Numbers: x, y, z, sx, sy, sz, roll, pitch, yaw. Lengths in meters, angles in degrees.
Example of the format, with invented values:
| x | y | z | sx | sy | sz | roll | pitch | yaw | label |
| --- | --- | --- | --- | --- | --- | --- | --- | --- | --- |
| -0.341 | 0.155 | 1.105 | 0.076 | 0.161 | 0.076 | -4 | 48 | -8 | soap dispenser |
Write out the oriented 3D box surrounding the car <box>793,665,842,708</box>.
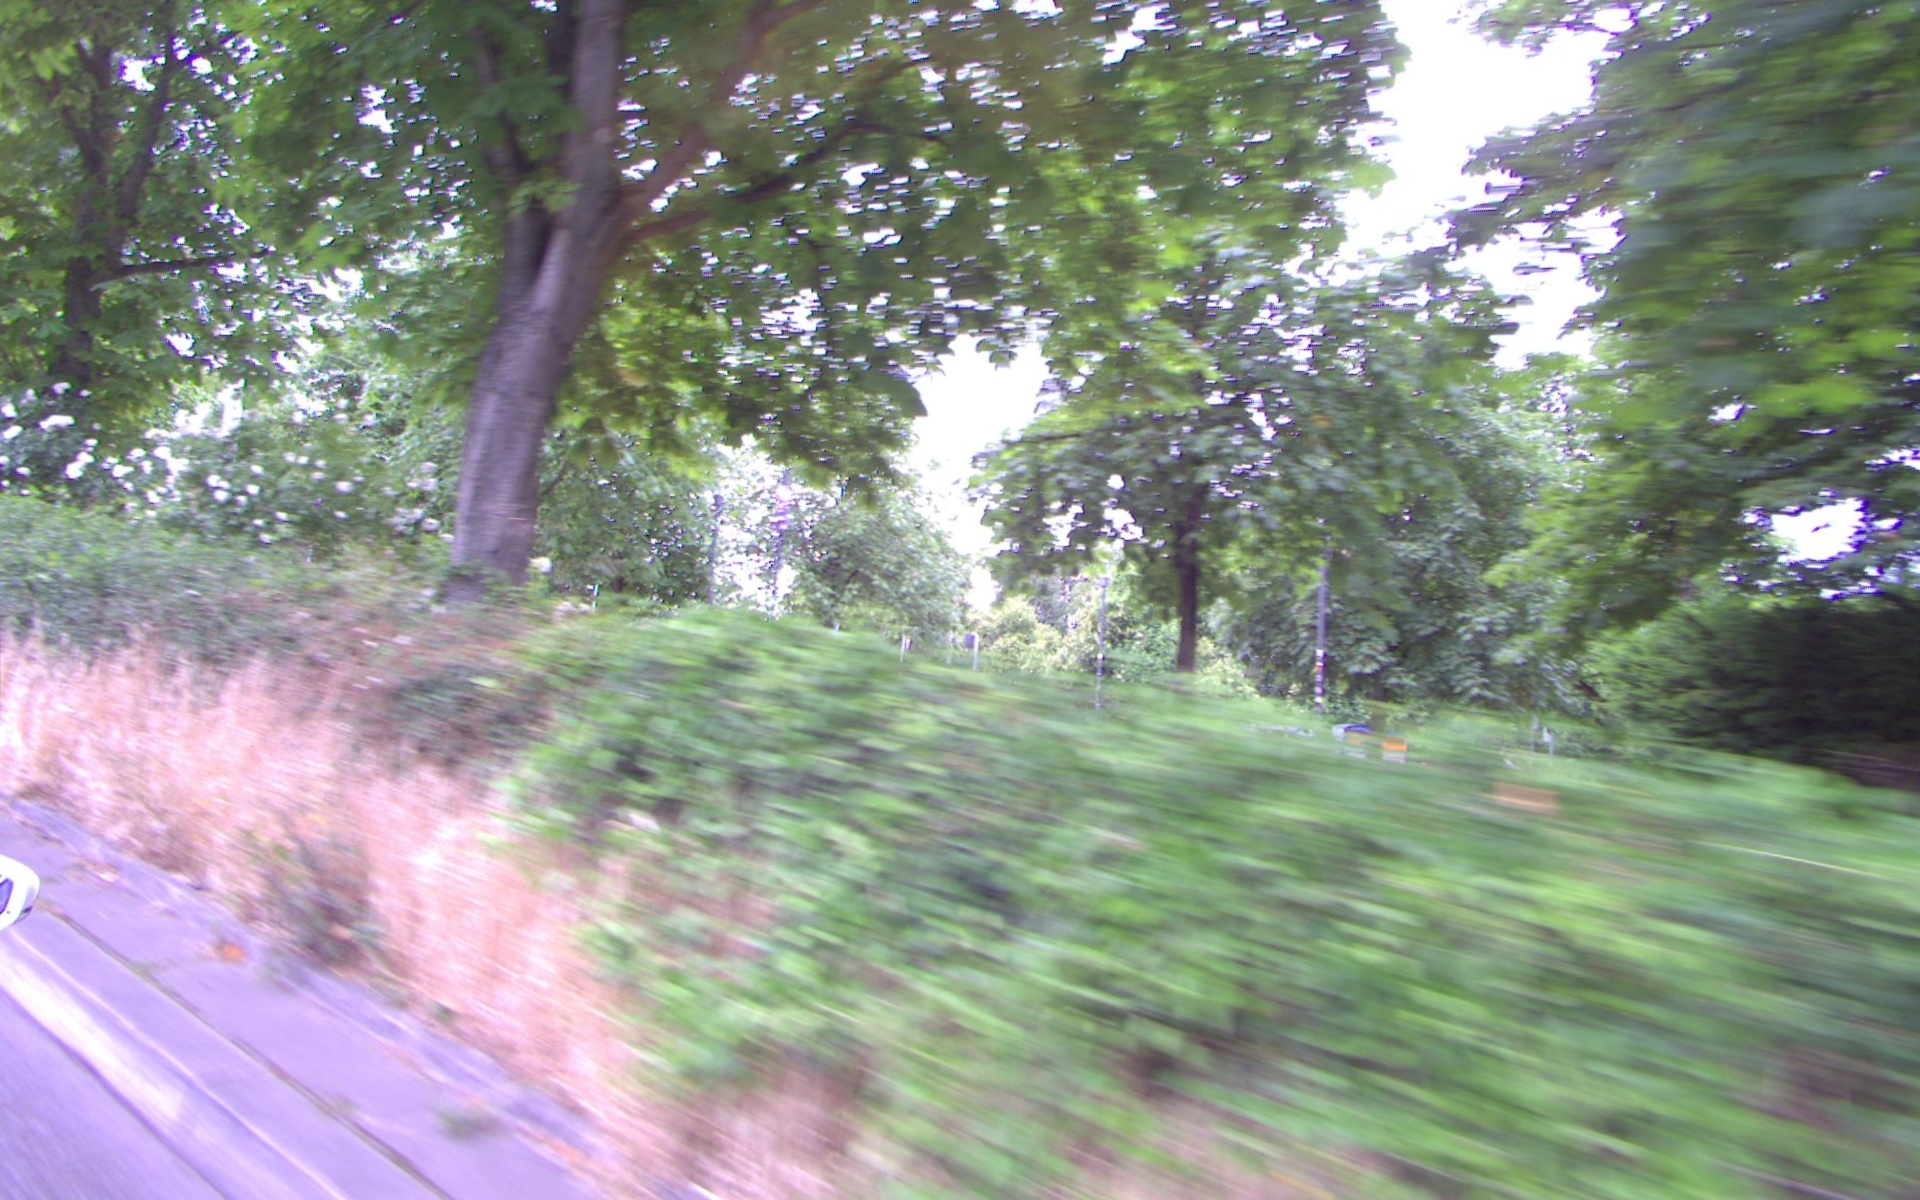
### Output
| x | y | z | sx | sy | sz | roll | pitch | yaw | label |
| --- | --- | --- | --- | --- | --- | --- | --- | --- | --- |
| -8.003 | 4.810 | 56.289 | 1.970 | 2.034 | 3.994 | 9 | -4 | -15 | car |

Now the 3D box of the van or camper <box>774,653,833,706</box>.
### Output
| x | y | z | sx | sy | sz | roll | pitch | yaw | label |
| --- | --- | --- | --- | --- | --- | --- | --- | --- | --- |
| -6.989 | 3.639 | 45.298 | 1.855 | 1.996 | 4.481 | 7 | -6 | -1 | van or camper |

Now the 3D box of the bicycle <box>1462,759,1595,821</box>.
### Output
| x | y | z | sx | sy | sz | roll | pitch | yaw | label |
| --- | --- | --- | --- | --- | --- | --- | --- | --- | --- |
| 15.428 | 5.140 | 27.381 | 0.919 | 1.157 | 2.919 | 11 | -5 | -43 | bicycle |

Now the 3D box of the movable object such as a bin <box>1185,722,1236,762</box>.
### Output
| x | y | z | sx | sy | sz | roll | pitch | yaw | label |
| --- | --- | --- | --- | --- | --- | --- | --- | --- | --- |
| 8.765 | 4.966 | 35.151 | 1.296 | 1.178 | 1.059 | 4 | -5 | 39 | movable object such as a bin |

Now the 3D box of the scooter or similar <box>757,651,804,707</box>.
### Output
| x | y | z | sx | sy | sz | roll | pitch | yaw | label |
| --- | --- | --- | --- | --- | --- | --- | --- | --- | --- |
| -4.424 | 1.929 | 24.718 | 0.460 | 1.260 | 1.308 | 10 | -6 | -36 | scooter or similar |

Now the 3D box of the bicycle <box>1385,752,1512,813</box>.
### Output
| x | y | z | sx | sy | sz | roll | pitch | yaw | label |
| --- | --- | --- | --- | --- | --- | --- | --- | --- | --- |
| 13.374 | 4.980 | 27.624 | 0.919 | 1.157 | 2.919 | 11 | -5 | -43 | bicycle |

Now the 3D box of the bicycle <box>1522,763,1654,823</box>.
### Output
| x | y | z | sx | sy | sz | roll | pitch | yaw | label |
| --- | --- | --- | --- | --- | --- | --- | --- | --- | --- |
| 17.479 | 5.368 | 28.085 | 0.919 | 1.157 | 2.919 | 11 | -5 | -43 | bicycle |

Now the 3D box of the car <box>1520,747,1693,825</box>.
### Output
| x | y | z | sx | sy | sz | roll | pitch | yaw | label |
| --- | --- | --- | --- | --- | --- | --- | --- | --- | --- |
| 22.628 | 6.504 | 35.370 | 4.626 | 1.923 | 2.005 | 7 | -4 | 3 | car |

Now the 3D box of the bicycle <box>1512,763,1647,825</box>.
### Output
| x | y | z | sx | sy | sz | roll | pitch | yaw | label |
| --- | --- | --- | --- | --- | --- | --- | --- | --- | --- |
| 16.820 | 5.253 | 27.377 | 0.919 | 1.157 | 2.919 | 11 | -5 | -43 | bicycle |
